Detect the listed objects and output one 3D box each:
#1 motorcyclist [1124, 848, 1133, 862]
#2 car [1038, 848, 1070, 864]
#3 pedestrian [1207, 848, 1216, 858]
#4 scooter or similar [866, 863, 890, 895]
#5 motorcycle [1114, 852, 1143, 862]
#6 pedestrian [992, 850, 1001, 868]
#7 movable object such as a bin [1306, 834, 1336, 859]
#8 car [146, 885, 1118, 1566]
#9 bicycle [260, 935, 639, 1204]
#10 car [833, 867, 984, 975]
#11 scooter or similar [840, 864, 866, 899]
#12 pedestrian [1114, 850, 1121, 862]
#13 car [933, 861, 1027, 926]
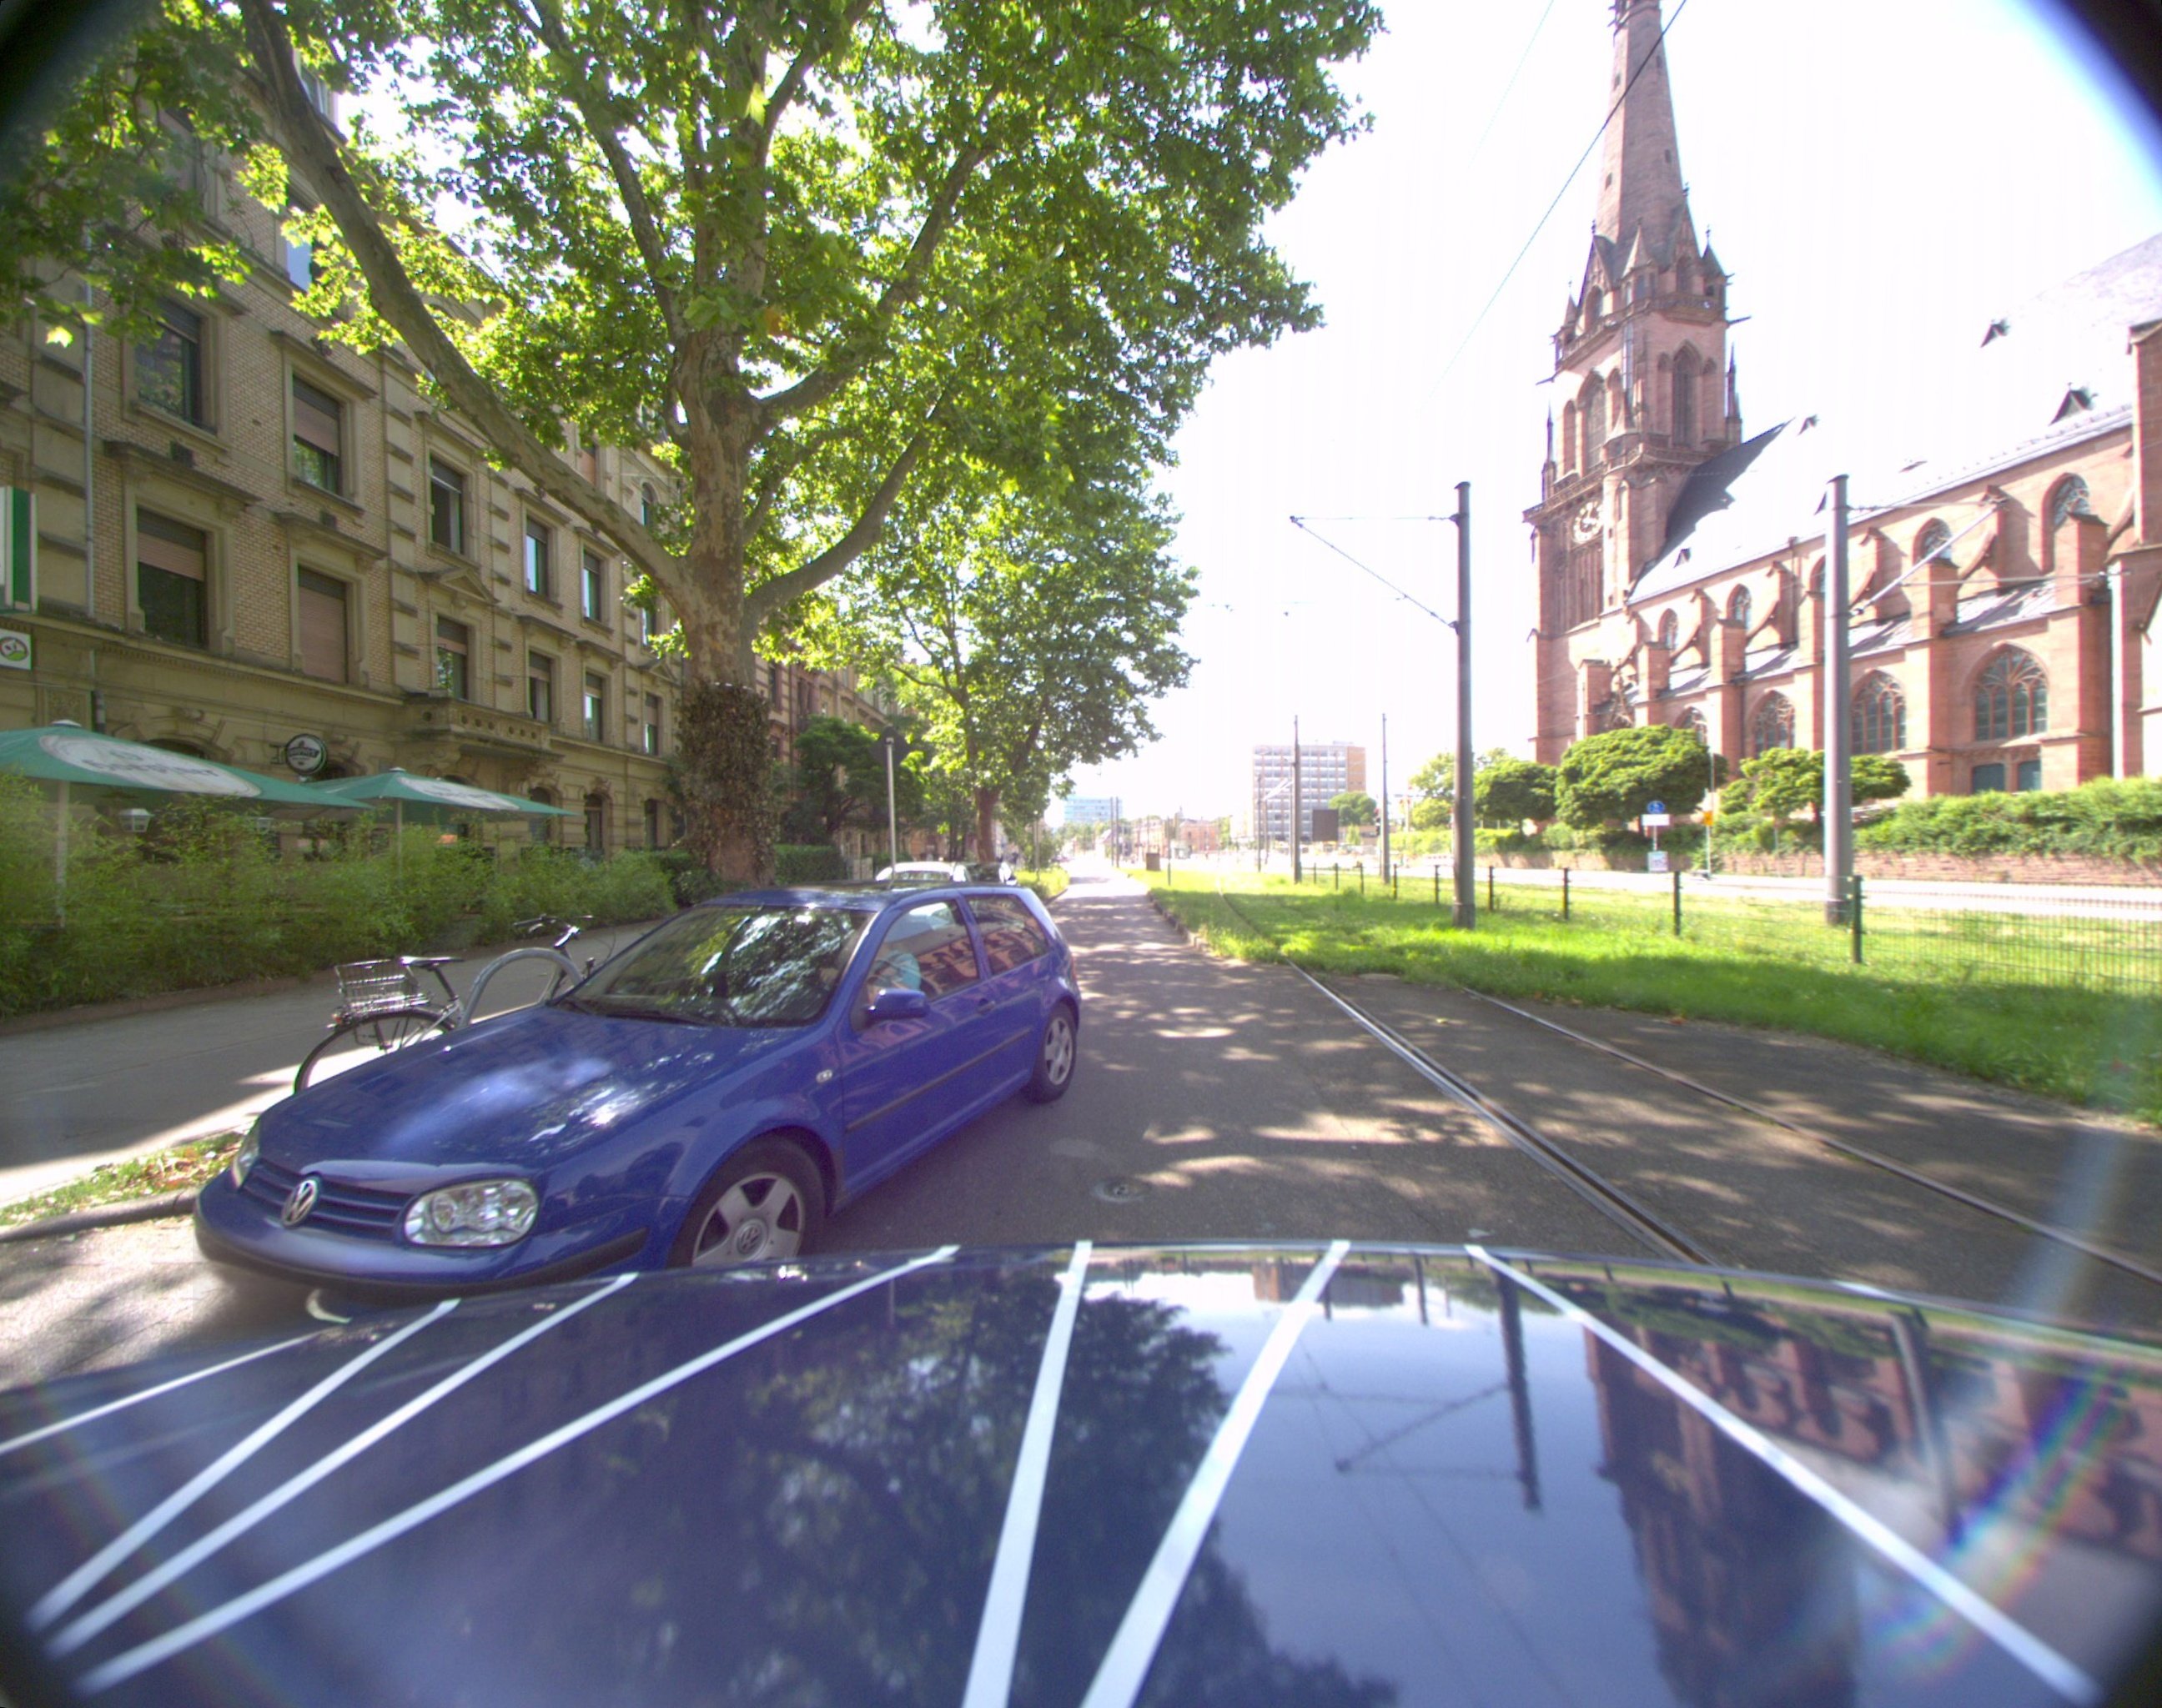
[{"bbox_3d":[6.648,0.145,106.503,1.107,1.919,1.333,-1,1,-3],"label":"motorcyclist"},{"bbox_3d":[-3.687,0.275,103.569,3.993,2.002,2.002,-1,1,11],"label":"car"},{"bbox_3d":[24.513,-0.184,142.915,1.426,1.796,1.422,-1,1,-3],"label":"pedestrian"},{"bbox_3d":[-8.259,1.005,30.982,0.583,1.275,1.145,-1,1,3],"label":"scooter or similar"},{"bbox_3d":[6.614,0.371,106.496,3.935,1.331,1.244,-1,1,-3],"label":"motorcycle"},{"bbox_3d":[-8.289,0.458,74.641,0.797,1.708,0.967,-1,1,0],"label":"pedestrian"},{"bbox_3d":[37.681,-1.139,119.234,3.340,3.859,2.932,-1,1,-33],"label":"movable object such as a bin"},{"bbox_3d":[-1.365,0.970,4.022,1.884,1.401,4.099,-1,0,21],"label":"car"},{"bbox_3d":[-3.510,1.107,4.401,0.421,1.099,1.619,0,1,31],"label":"bicycle"},{"bbox_3d":[-2.852,1.027,13.538,1.838,1.499,4.490,-1,0,-3],"label":"car"},{"bbox_3d":[-8.458,1.004,28.261,0.583,1.240,1.145,-1,1,1],"label":"scooter or similar"},{"bbox_3d":[5.005,0.216,103.739,0.850,1.644,1.128,-1,1,1],"label":"pedestrian"},{"bbox_3d":[-2.609,0.977,20.737,1.838,1.499,4.643,-1,0,1],"label":"car"}]
